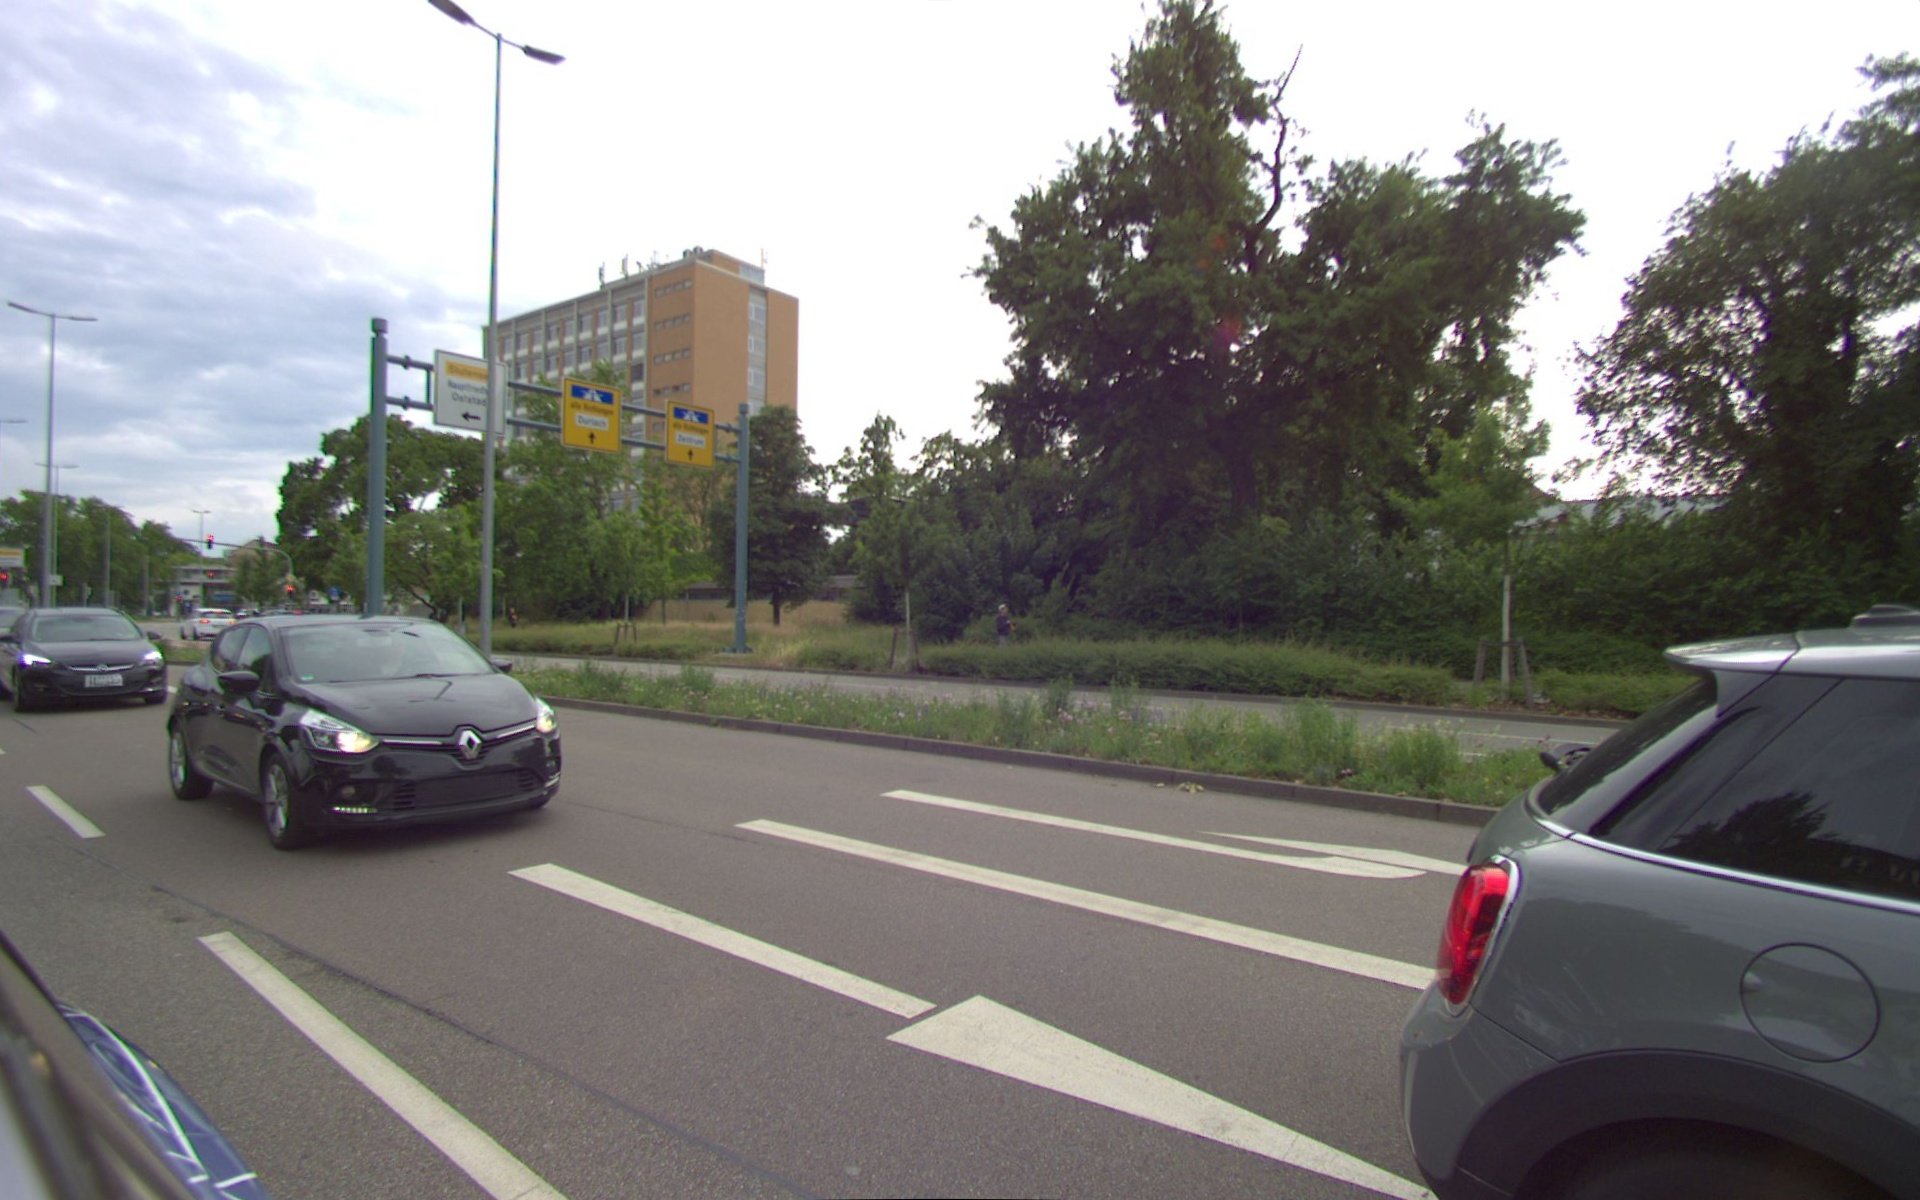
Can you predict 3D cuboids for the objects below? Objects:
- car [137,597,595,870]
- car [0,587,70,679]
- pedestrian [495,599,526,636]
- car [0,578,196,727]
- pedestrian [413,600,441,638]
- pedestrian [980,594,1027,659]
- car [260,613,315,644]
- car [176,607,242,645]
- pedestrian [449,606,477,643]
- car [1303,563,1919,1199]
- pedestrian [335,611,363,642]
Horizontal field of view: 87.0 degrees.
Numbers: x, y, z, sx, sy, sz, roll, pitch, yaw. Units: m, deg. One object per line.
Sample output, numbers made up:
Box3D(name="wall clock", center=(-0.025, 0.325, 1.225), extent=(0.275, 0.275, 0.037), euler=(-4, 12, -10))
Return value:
Box3D(name="car", center=(-4.509, 0.754, 7.434), extent=(3.998, 1.470, 1.709), euler=(0, -2, 41))
Box3D(name="car", center=(-22.395, 0.736, 23.556), extent=(3.998, 2.029, 1.973), euler=(0, -2, 41))
Box3D(name="pedestrian", center=(-23.385, 0.902, 52.702), extent=(1.163, 1.933, 1.122), euler=(0, 0, 44))
Box3D(name="car", center=(-13.727, 0.750, 15.873), extent=(3.998, 2.029, 1.973), euler=(0, -2, 41))
Box3D(name="pedestrian", center=(-28.990, 1.040, 55.085), extent=(1.218, 2.029, 0.872), euler=(0, 0, 33))
Box3D(name="pedestrian", center=(1.132, 0.673, 26.223), extent=(0.812, 1.637, 0.978), euler=(0, 0, 38))
Box3D(name="car", center=(-35.244, 1.449, 52.996), extent=(1.828, 1.564, 4.005), euler=(1, -1, -42))
Box3D(name="car", center=(-38.059, 1.284, 51.248), extent=(3.998, 1.786, 1.869), euler=(0, 0, 41))
Box3D(name="pedestrian", center=(-27.392, 1.351, 55.796), extent=(1.218, 2.029, 0.872), euler=(0, 0, 33))
Box3D(name="car", center=(2.579, 0.628, 1.355), extent=(3.704, 1.328, 1.604), euler=(0, -2, 41))
Box3D(name="pedestrian", center=(-40.683, 1.770, 67.372), extent=(1.519, 2.029, 1.208), euler=(0, 0, 40))
